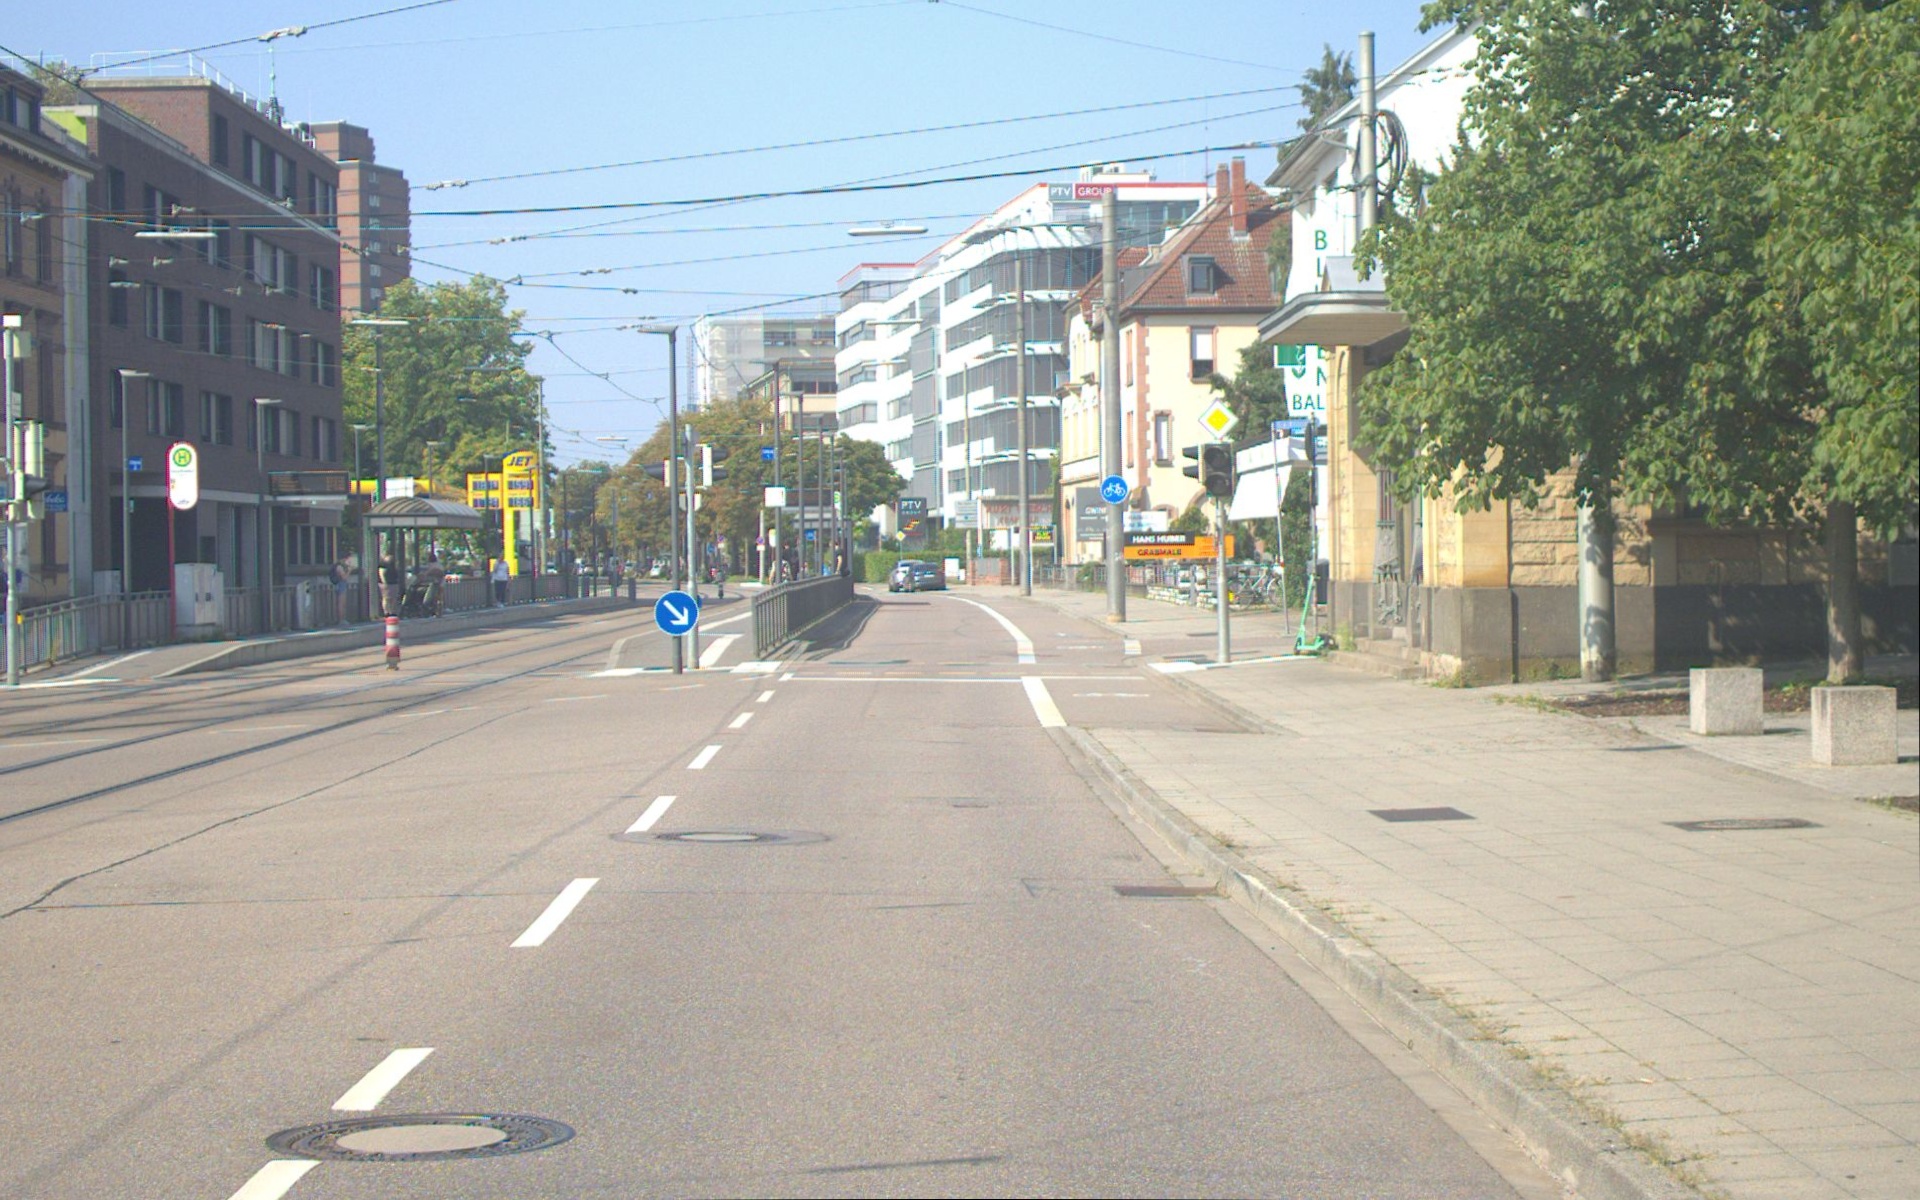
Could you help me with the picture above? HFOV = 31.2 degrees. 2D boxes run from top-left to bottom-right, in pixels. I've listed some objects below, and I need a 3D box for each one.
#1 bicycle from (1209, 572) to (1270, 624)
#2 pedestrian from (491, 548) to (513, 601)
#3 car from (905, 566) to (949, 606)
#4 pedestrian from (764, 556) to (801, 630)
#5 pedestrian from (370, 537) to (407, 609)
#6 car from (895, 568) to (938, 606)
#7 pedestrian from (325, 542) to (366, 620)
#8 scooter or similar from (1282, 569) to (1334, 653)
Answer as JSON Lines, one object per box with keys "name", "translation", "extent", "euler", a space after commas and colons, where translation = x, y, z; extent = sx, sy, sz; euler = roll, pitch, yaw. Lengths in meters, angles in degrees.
{"name": "bicycle", "translation": [6.416, -0.046, 79.044], "extent": [0.731, 1.129, 2.840], "euler": [-4, 1, -8]}
{"name": "pedestrian", "translation": [-13.317, -0.742, 99.962], "extent": [0.532, 1.525, 0.702], "euler": [-3, 0, -6]}
{"name": "car", "translation": [-1.598, -0.675, 168.942], "extent": [2.011, 1.852, 4.000], "euler": [-3, 0, 1]}
{"name": "pedestrian", "translation": [-4.129, -0.163, 80.070], "extent": [0.720, 1.697, 0.884], "euler": [-3, 0, 1]}
{"name": "pedestrian", "translation": [-14.041, -0.663, 84.442], "extent": [0.708, 1.741, 0.799], "euler": [-3, 0, 0]}
{"name": "car", "translation": [-2.216, -0.673, 175.055], "extent": [2.011, 1.852, 4.000], "euler": [-3, 0, 1]}
{"name": "pedestrian", "translation": [-13.884, -0.433, 77.713], "extent": [0.708, 1.717, 0.799], "euler": [-3, 0, 0]}
{"name": "scooter or similar", "translation": [4.831, 0.147, 47.748], "extent": [0.523, 1.129, 1.511], "euler": [-3, 0, 0]}
